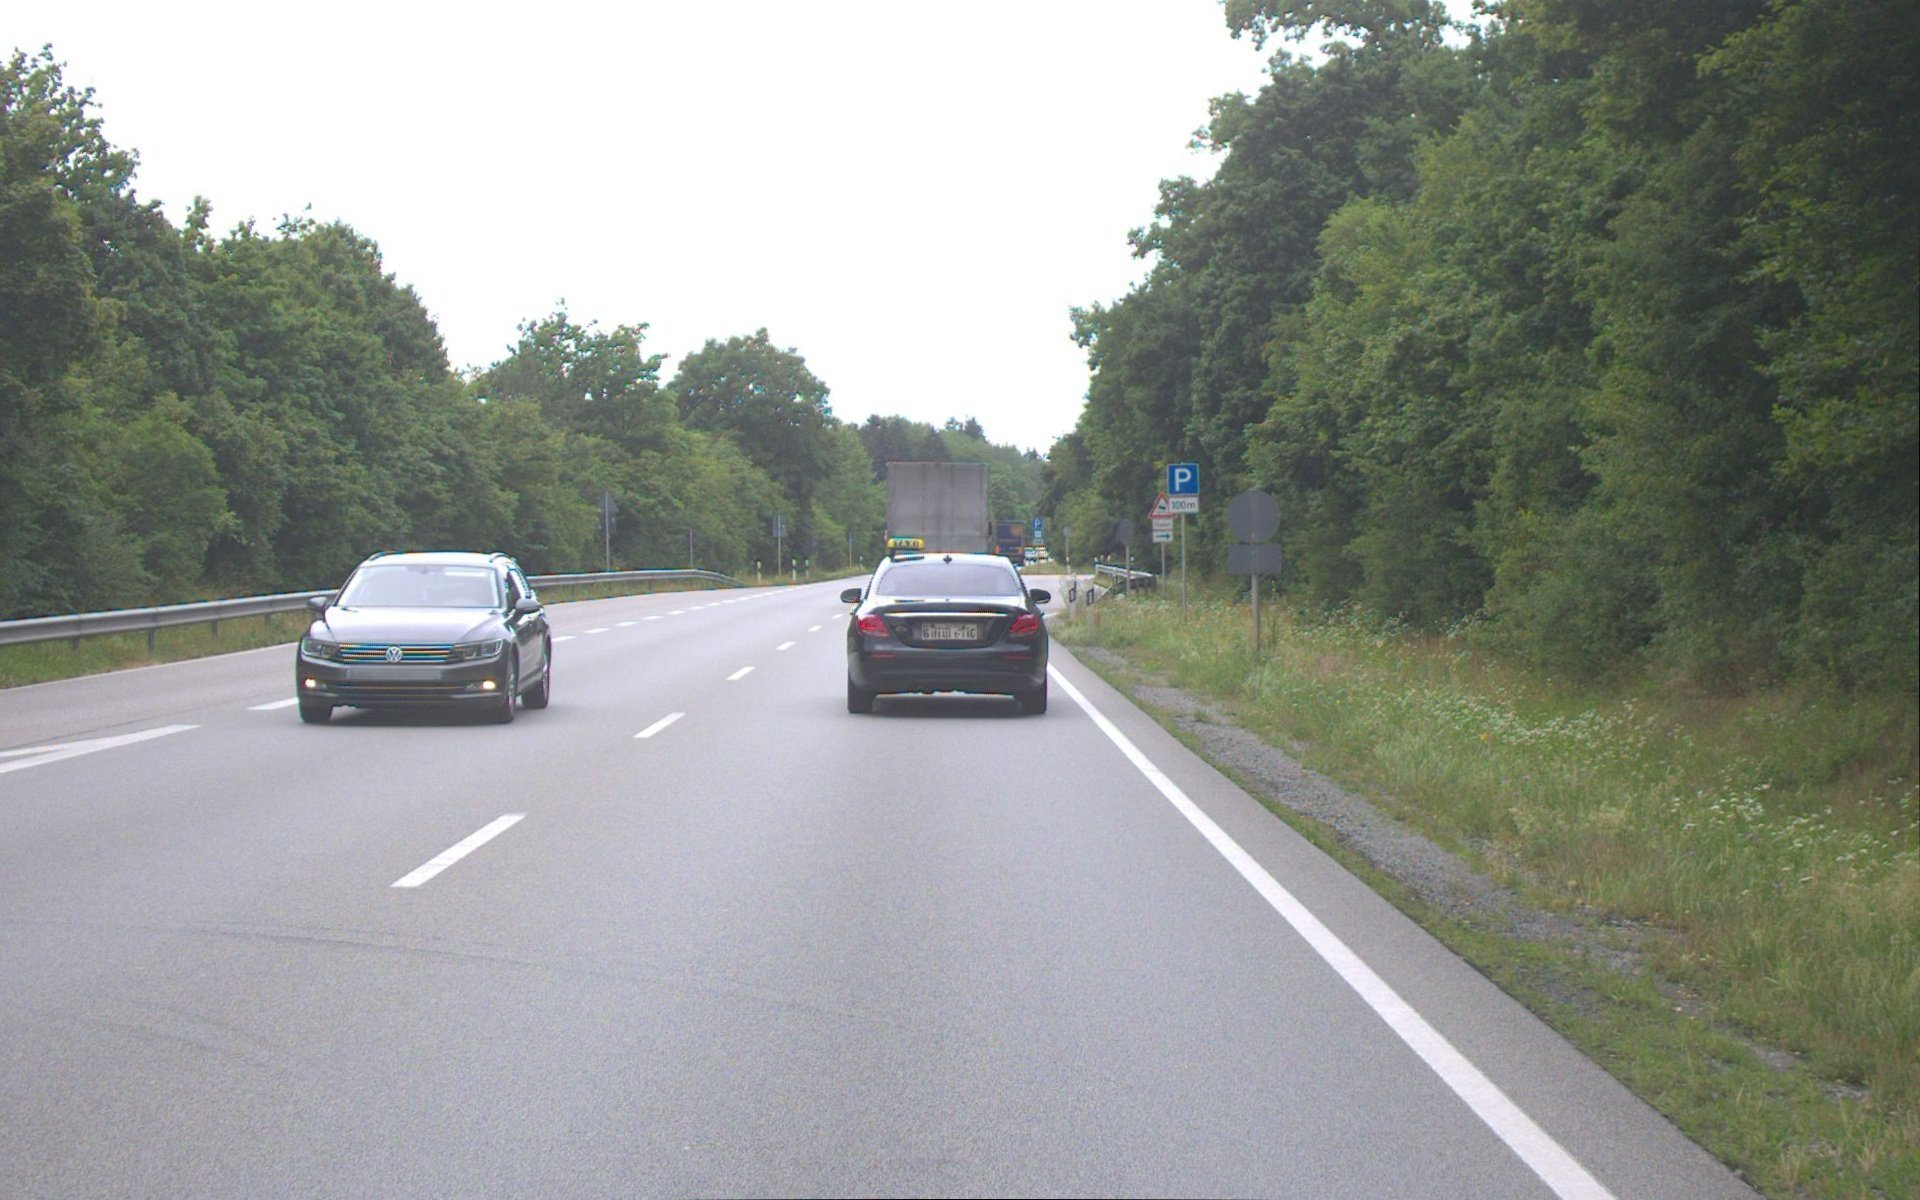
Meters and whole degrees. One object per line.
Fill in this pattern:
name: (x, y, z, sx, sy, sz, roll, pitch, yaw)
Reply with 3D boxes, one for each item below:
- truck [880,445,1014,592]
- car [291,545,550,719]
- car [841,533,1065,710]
truck: (-0.368, -2.117, 91.227, 3.281, 3.599, 11.400, 1, 1, 0)
car: (-4.773, 0.231, 30.980, 1.808, 1.437, 4.448, 1, 1, -3)
car: (-0.128, 0.157, 32.251, 1.791, 1.546, 4.001, 1, 1, -4)
